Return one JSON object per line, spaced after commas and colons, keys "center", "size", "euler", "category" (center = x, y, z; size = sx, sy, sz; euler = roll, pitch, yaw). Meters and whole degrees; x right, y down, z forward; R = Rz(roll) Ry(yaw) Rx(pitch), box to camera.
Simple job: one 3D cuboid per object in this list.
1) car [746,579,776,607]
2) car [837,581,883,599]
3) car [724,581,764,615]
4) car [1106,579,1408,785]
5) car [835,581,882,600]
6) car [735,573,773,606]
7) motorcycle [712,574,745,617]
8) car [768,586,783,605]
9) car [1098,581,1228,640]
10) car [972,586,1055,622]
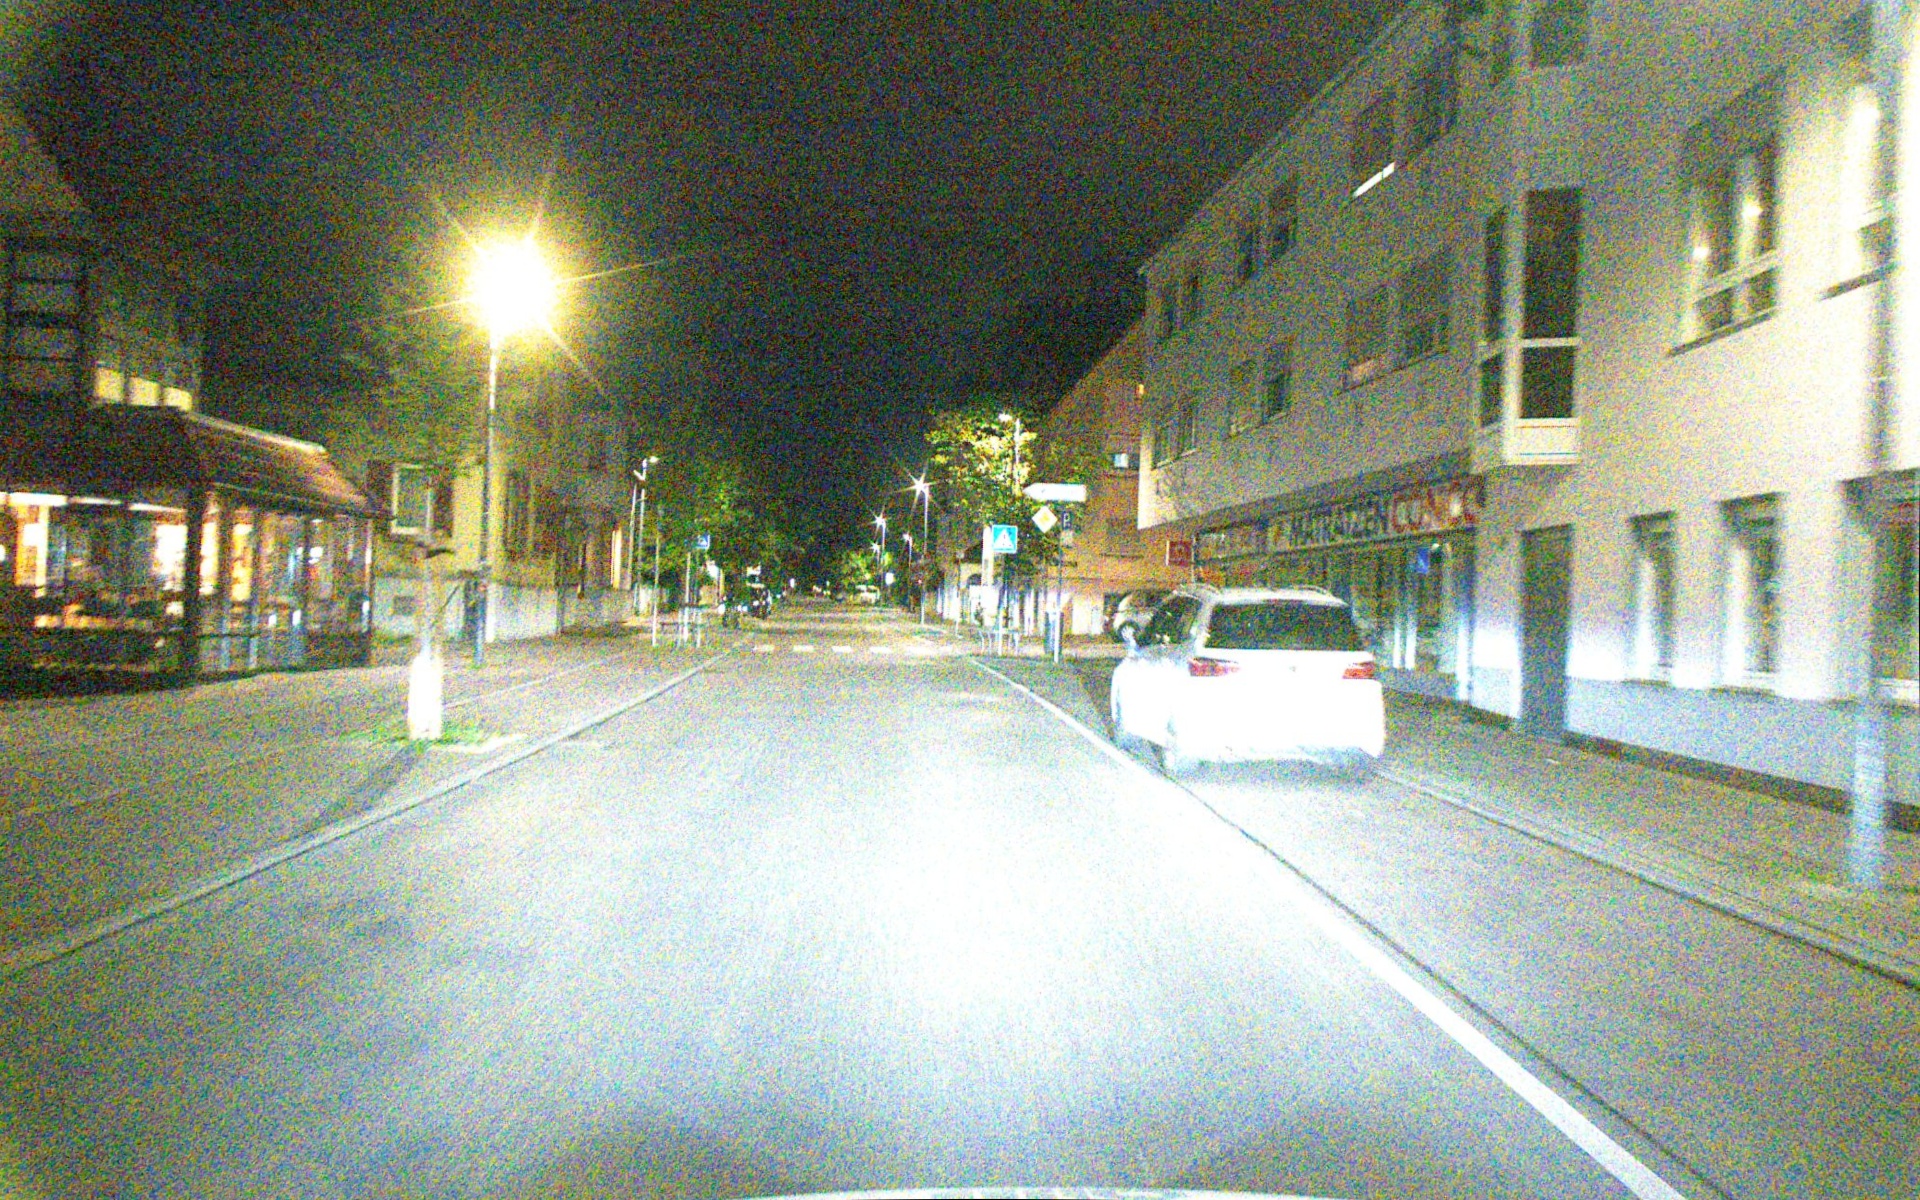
{"center": [-11.673, -0.418, 96.971], "size": [1.640, 1.548, 2.974], "euler": [4, 0, -7], "category": "car"}
{"center": [-11.274, -1.125, 186.713], "size": [5.084, 2.049, 2.098], "euler": [0, 1, -7], "category": "car"}
{"center": [-10.147, -0.109, 77.925], "size": [1.655, 1.536, 4.274], "euler": [1, 1, -5], "category": "car"}
{"center": [2.502, 0.610, 14.972], "size": [1.708, 1.596, 4.205], "euler": [0, 1, -4], "category": "car"}
{"center": [-11.237, -1.045, 183.640], "size": [5.084, 2.049, 2.098], "euler": [0, 1, -7], "category": "car"}
{"center": [-10.300, -0.546, 83.033], "size": [1.732, 1.545, 4.274], "euler": [2, 1, -6], "category": "car"}
{"center": [-8.200, -0.176, 58.675], "size": [0.730, 1.477, 2.196], "euler": [1, 0, 3], "category": "motorcycle"}
{"center": [-22.996, -0.551, 206.150], "size": [1.790, 2.021, 4.458], "euler": [3, -2, -7], "category": "car"}
{"center": [5.932, 0.287, 48.513], "size": [3.439, 1.551, 1.818], "euler": [-2, 1, -7], "category": "car"}
{"center": [2.449, 0.178, 75.730], "size": [3.637, 1.499, 1.729], "euler": [1, 0, -3], "category": "car"}
